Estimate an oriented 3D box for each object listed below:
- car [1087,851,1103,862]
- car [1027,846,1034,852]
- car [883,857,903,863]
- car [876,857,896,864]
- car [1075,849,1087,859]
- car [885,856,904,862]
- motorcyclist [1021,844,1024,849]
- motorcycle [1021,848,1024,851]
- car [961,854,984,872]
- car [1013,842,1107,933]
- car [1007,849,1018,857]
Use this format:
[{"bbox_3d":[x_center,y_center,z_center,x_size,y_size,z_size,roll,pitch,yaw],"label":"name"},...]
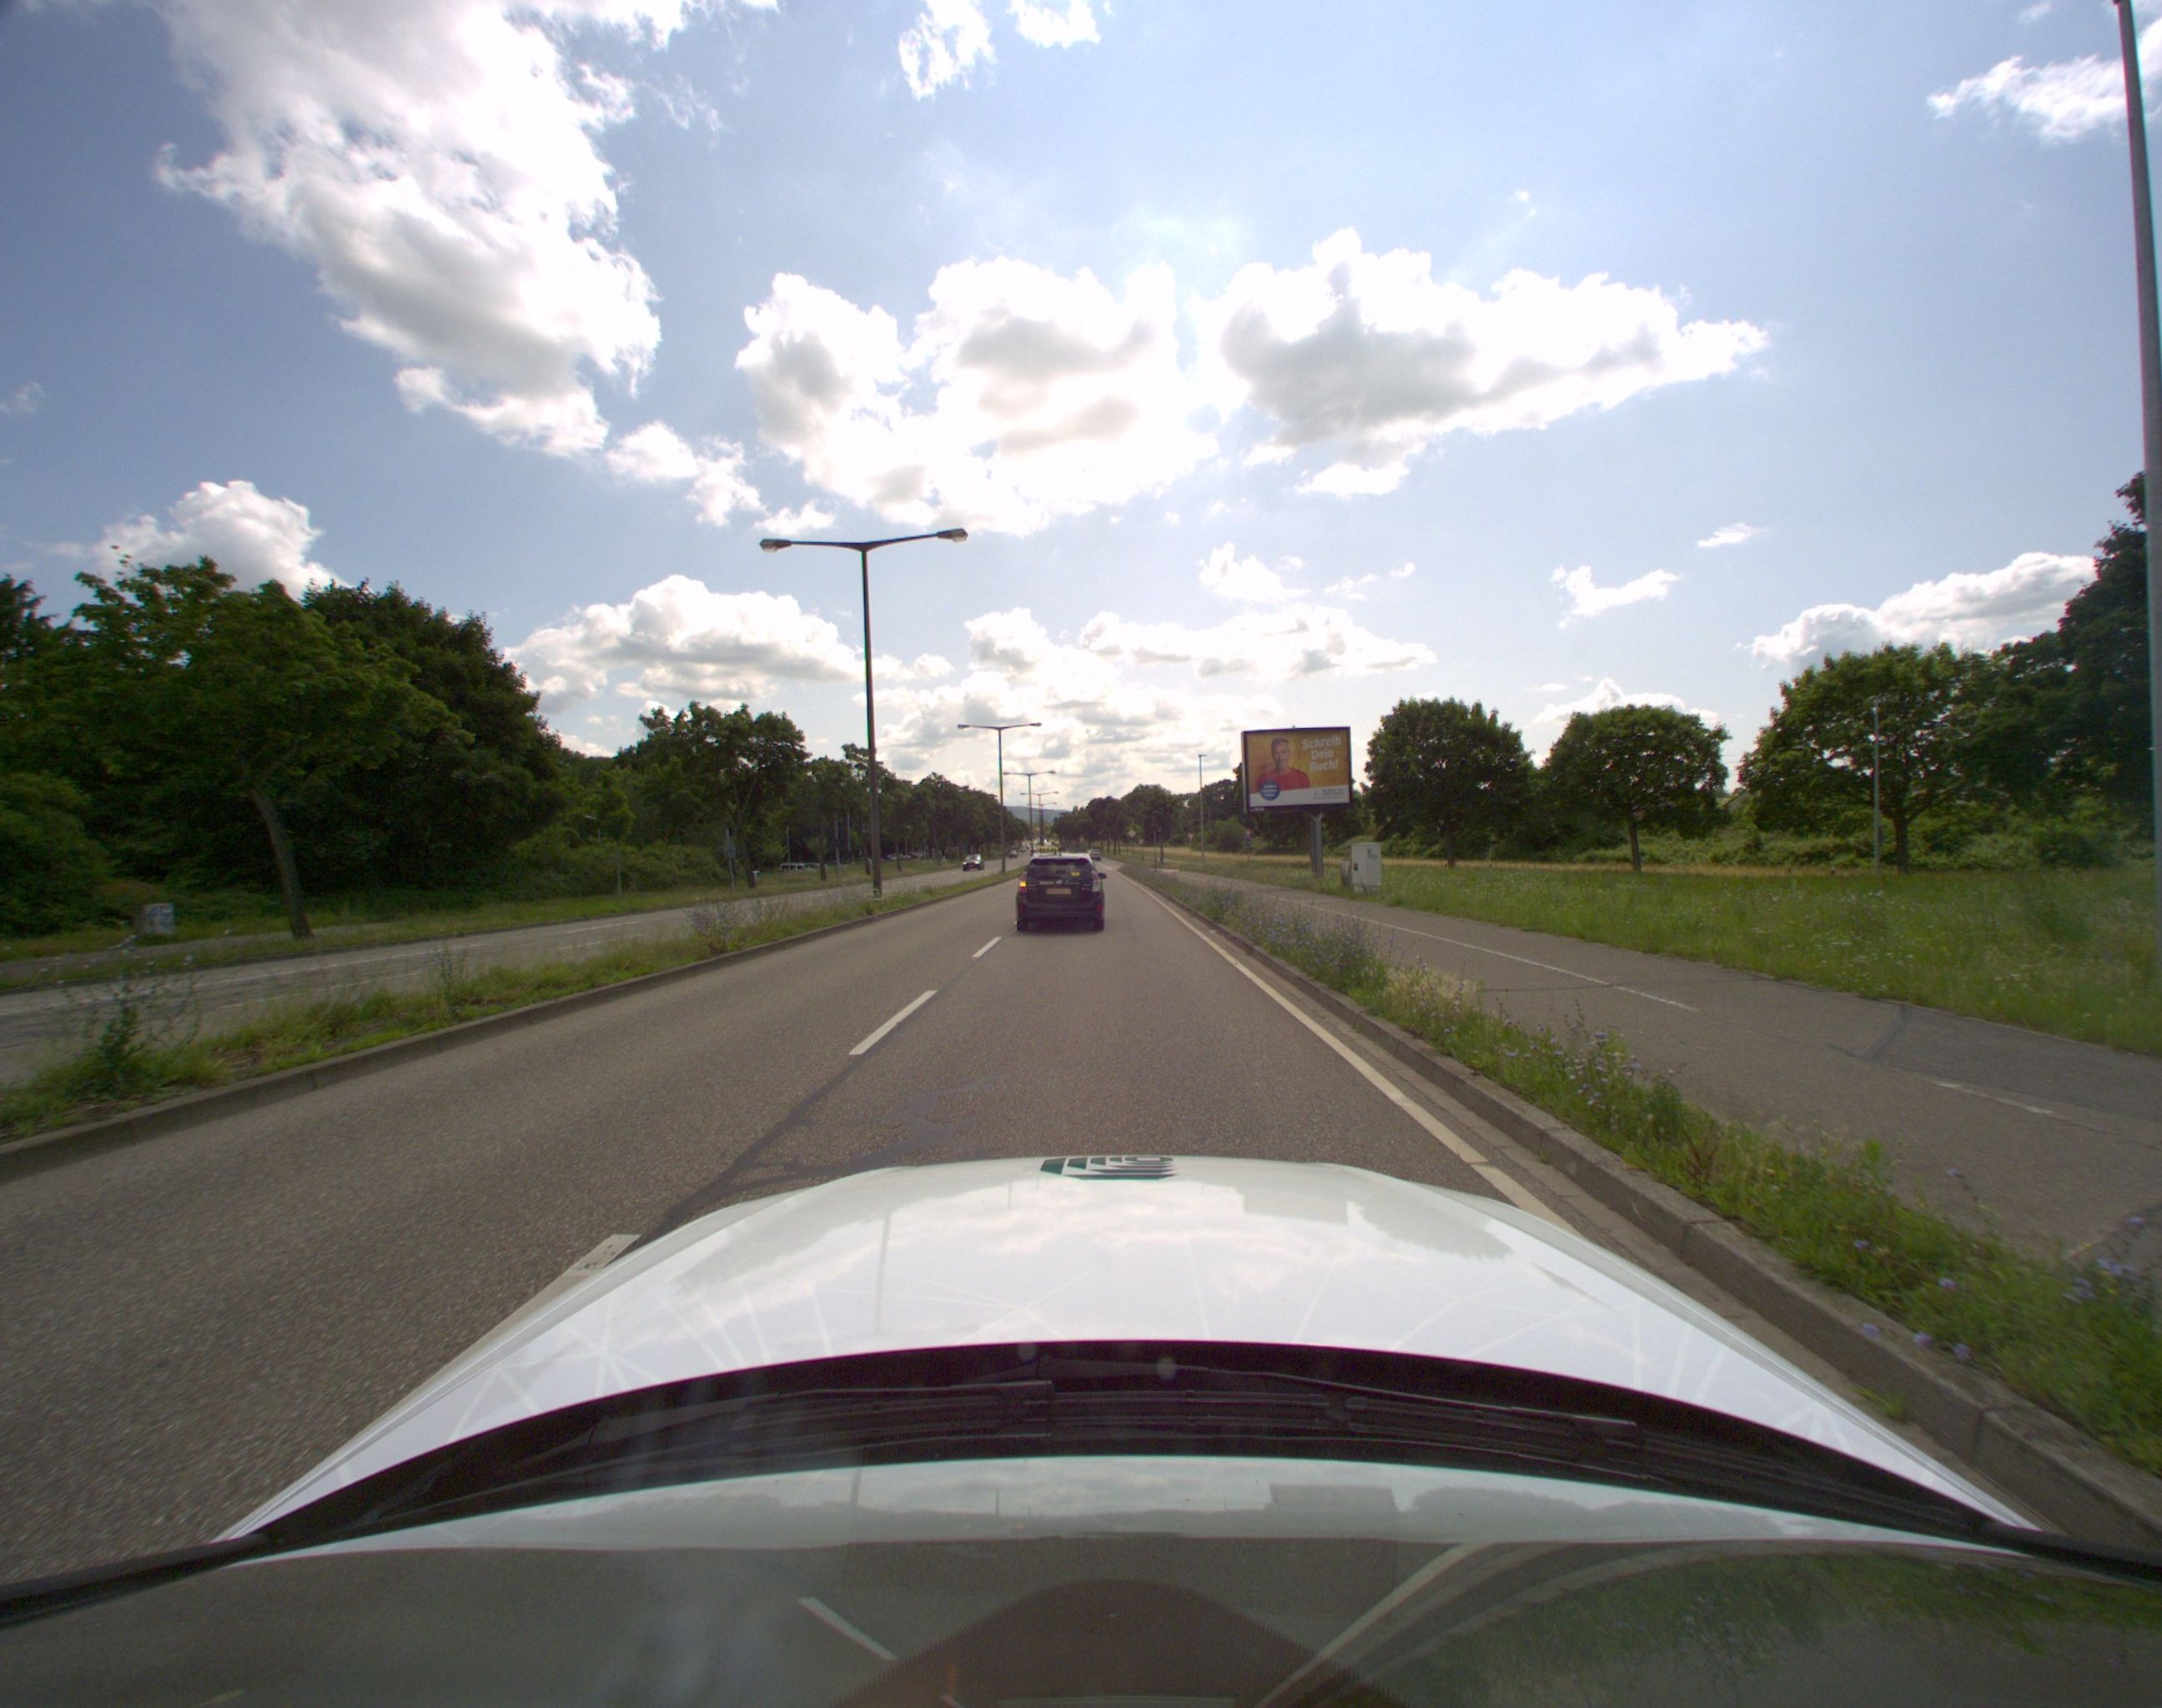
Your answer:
[{"bbox_3d":[2.117,0.317,123.409,1.989,1.508,3.995,-1,1,-4],"label":"car"},{"bbox_3d":[-14.383,-1.380,230.973,1.806,1.398,4.730,-2,1,-2],"label":"car"},{"bbox_3d":[-40.757,1.305,176.680,3.771,1.387,1.786,0,1,1],"label":"car"},{"bbox_3d":[-41.227,1.310,172.332,3.771,1.387,1.786,0,1,1],"label":"car"},{"bbox_3d":[-0.019,-0.056,136.787,1.988,1.661,3.998,-1,1,-1],"label":"car"},{"bbox_3d":[-41.758,1.147,182.324,3.771,1.387,1.786,0,1,1],"label":"car"},{"bbox_3d":[-16.290,-2.057,227.206,0.825,1.414,1.328,-1,1,-2],"label":"motorcyclist"},{"bbox_3d":[-16.291,-1.386,227.261,0.749,0.772,2.670,-1,1,-1],"label":"motorcycle"},{"bbox_3d":[-11.867,0.981,89.366,1.871,1.790,4.726,-4,0,-1],"label":"car"},{"bbox_3d":[-0.449,0.594,17.401,1.775,1.683,3.998,-1,1,-2],"label":"car"},{"bbox_3d":[-13.631,-0.175,162.146,1.701,1.427,3.661,-2,0,-10],"label":"car"}]
